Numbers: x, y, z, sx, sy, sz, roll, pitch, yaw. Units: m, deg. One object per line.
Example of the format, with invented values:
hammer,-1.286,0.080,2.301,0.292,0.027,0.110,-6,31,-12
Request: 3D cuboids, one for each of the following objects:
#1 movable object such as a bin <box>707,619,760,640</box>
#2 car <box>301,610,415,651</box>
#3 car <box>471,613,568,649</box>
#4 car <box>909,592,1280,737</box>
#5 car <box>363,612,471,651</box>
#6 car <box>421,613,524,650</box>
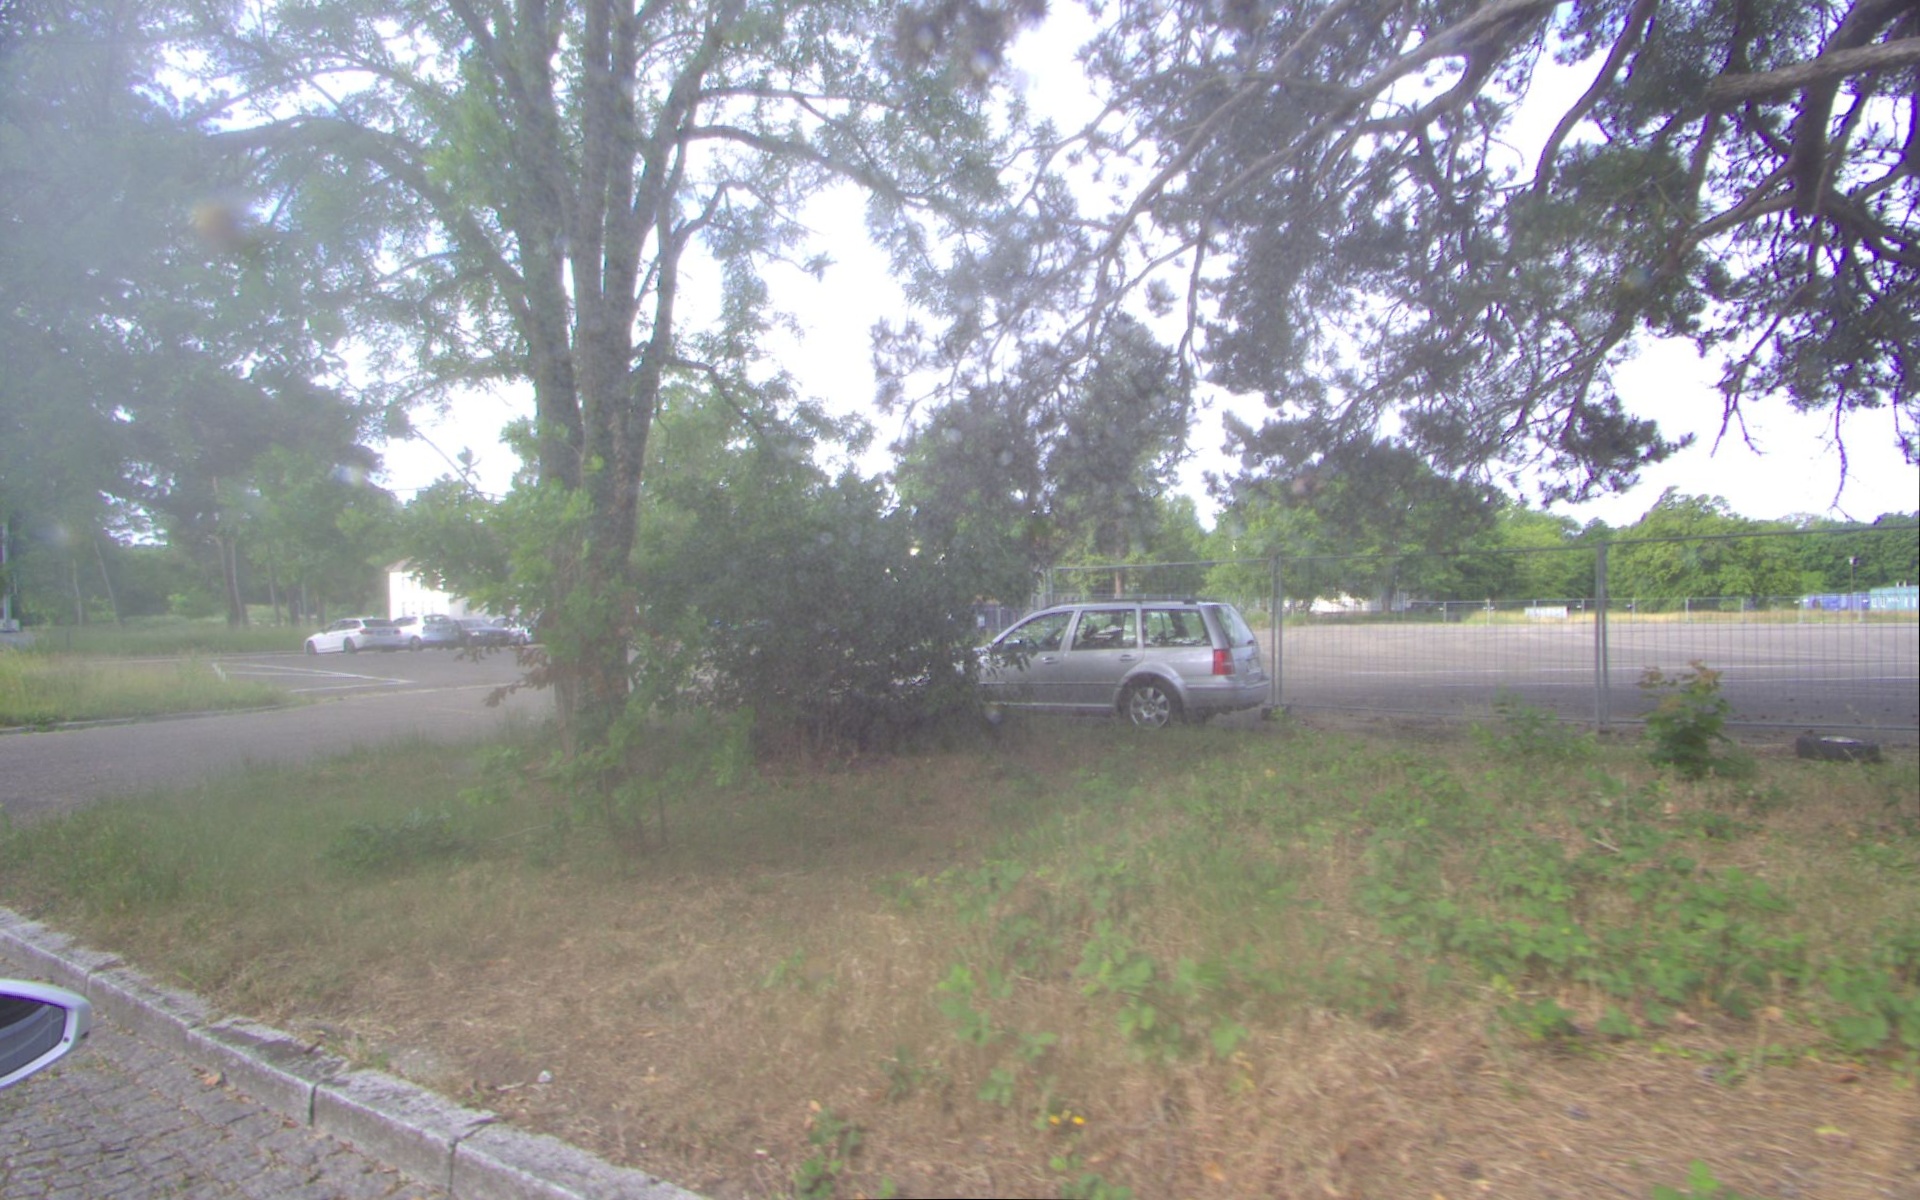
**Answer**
movable object such as a bin,-9.325,1.213,41.278,1.928,0.836,1.181,-1,0,37
car,-24.269,1.248,40.344,4.359,1.500,1.991,-3,-1,29
car,-20.900,1.479,47.501,4.359,1.542,1.992,-3,-2,29
car,1.521,0.716,11.757,4.014,1.444,1.645,-1,-3,31
car,-23.086,1.326,42.571,4.359,1.500,1.991,-3,-1,29
car,-21.917,1.410,44.987,4.359,1.500,1.991,-3,-1,29
